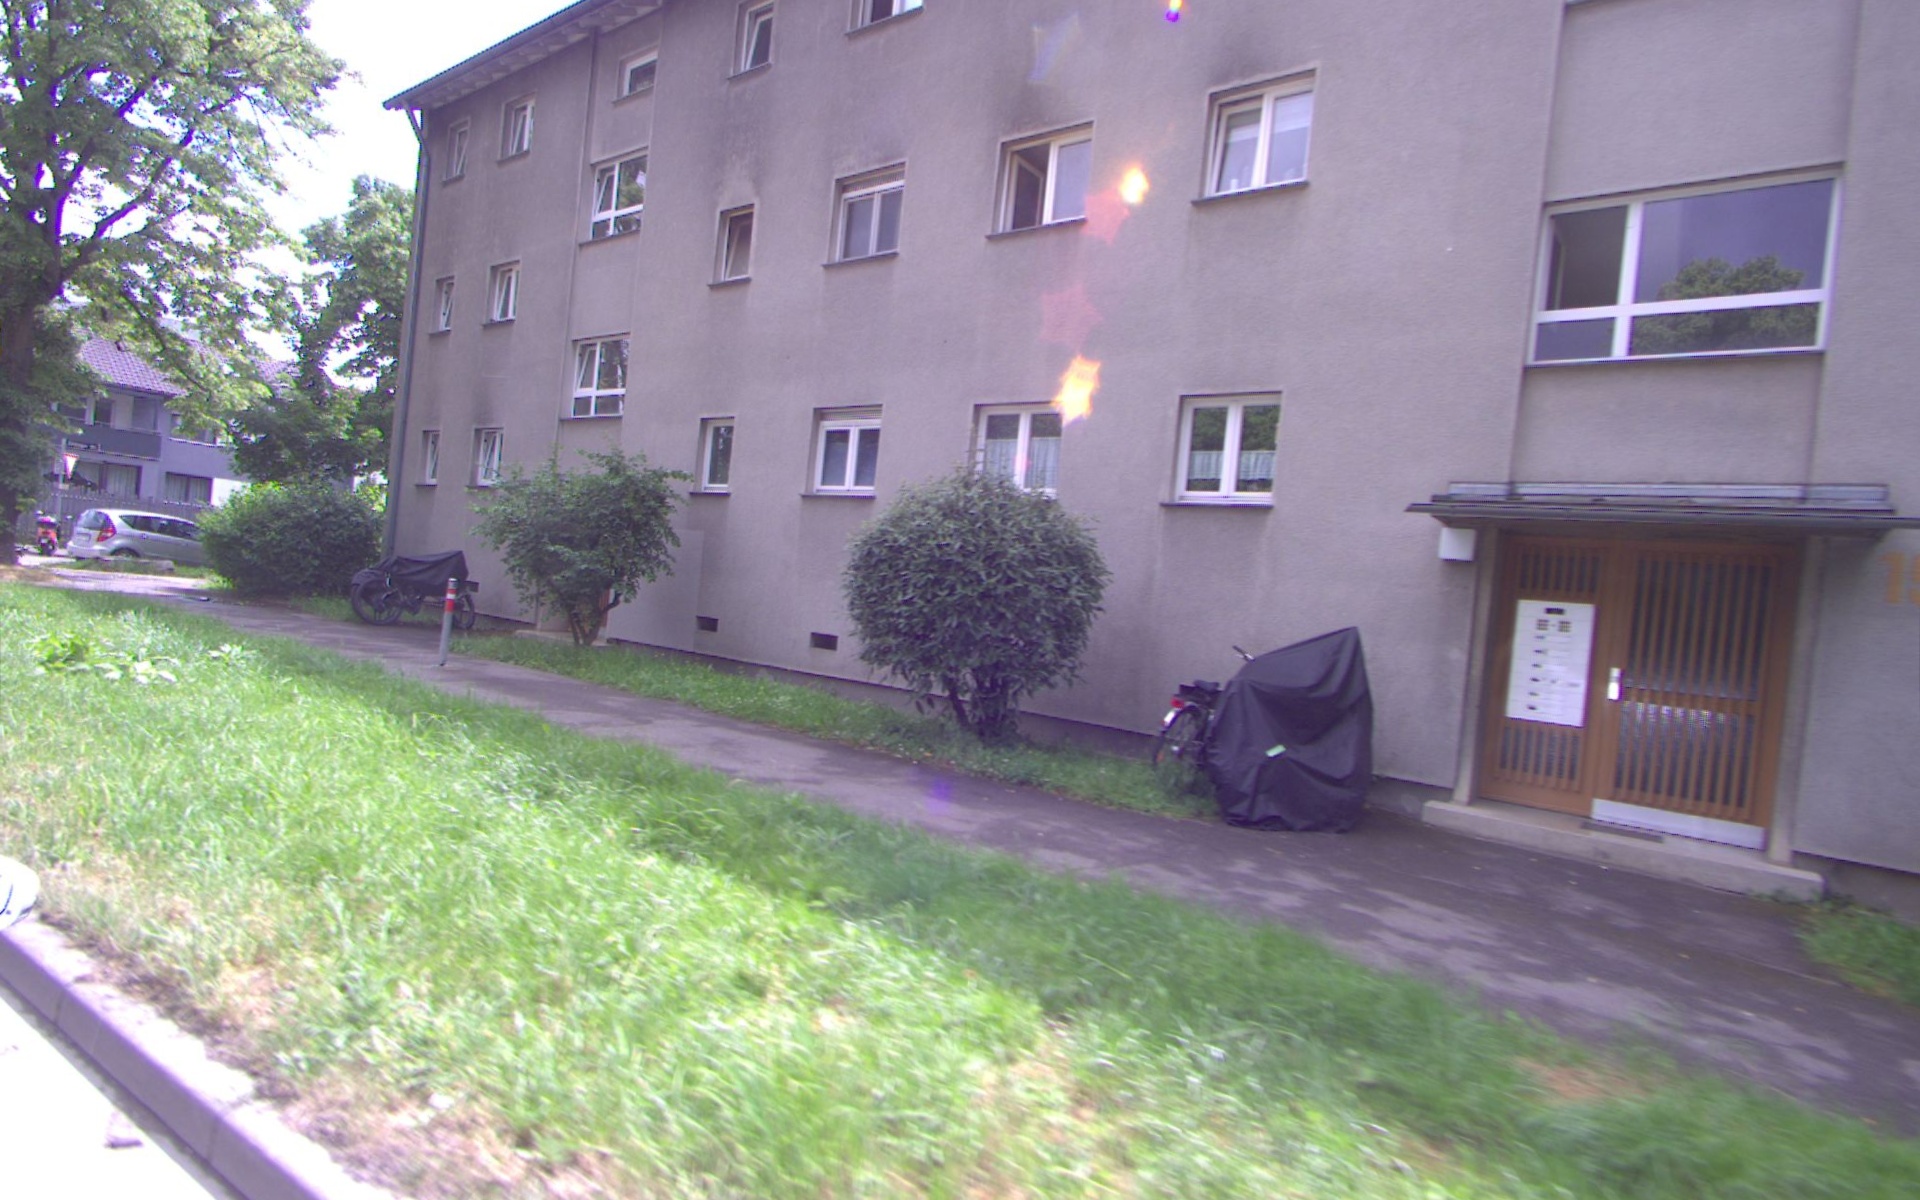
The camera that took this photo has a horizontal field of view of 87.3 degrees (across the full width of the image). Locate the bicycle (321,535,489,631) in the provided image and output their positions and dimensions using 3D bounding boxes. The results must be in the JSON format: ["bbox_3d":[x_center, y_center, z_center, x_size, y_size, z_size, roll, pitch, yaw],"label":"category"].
[{"bbox_3d":[-8.810,-0.243,16.065,0.671,1.298,2.164,6,0,40],"label":"bicycle"}]

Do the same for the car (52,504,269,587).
[{"bbox_3d":[-21.203,-1.399,26.871,1.904,1.572,3.999,7,-1,24],"label":"car"}]

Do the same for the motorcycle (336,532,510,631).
[{"bbox_3d":[-8.273,-0.253,15.605,0.671,1.298,2.201,6,0,40],"label":"motorcycle"}]

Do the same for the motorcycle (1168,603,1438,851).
[{"bbox_3d":[2.524,0.860,7.252,1.003,1.447,1.993,7,1,42],"label":"motorcycle"}]

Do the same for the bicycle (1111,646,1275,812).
[{"bbox_3d":[1.853,0.963,7.805,0.448,1.098,1.797,7,1,37],"label":"bicycle"}]

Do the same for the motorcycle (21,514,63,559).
[{"bbox_3d":[-26.566,-1.837,29.148,0.656,1.162,2.398,7,-2,-39],"label":"motorcycle"}]
